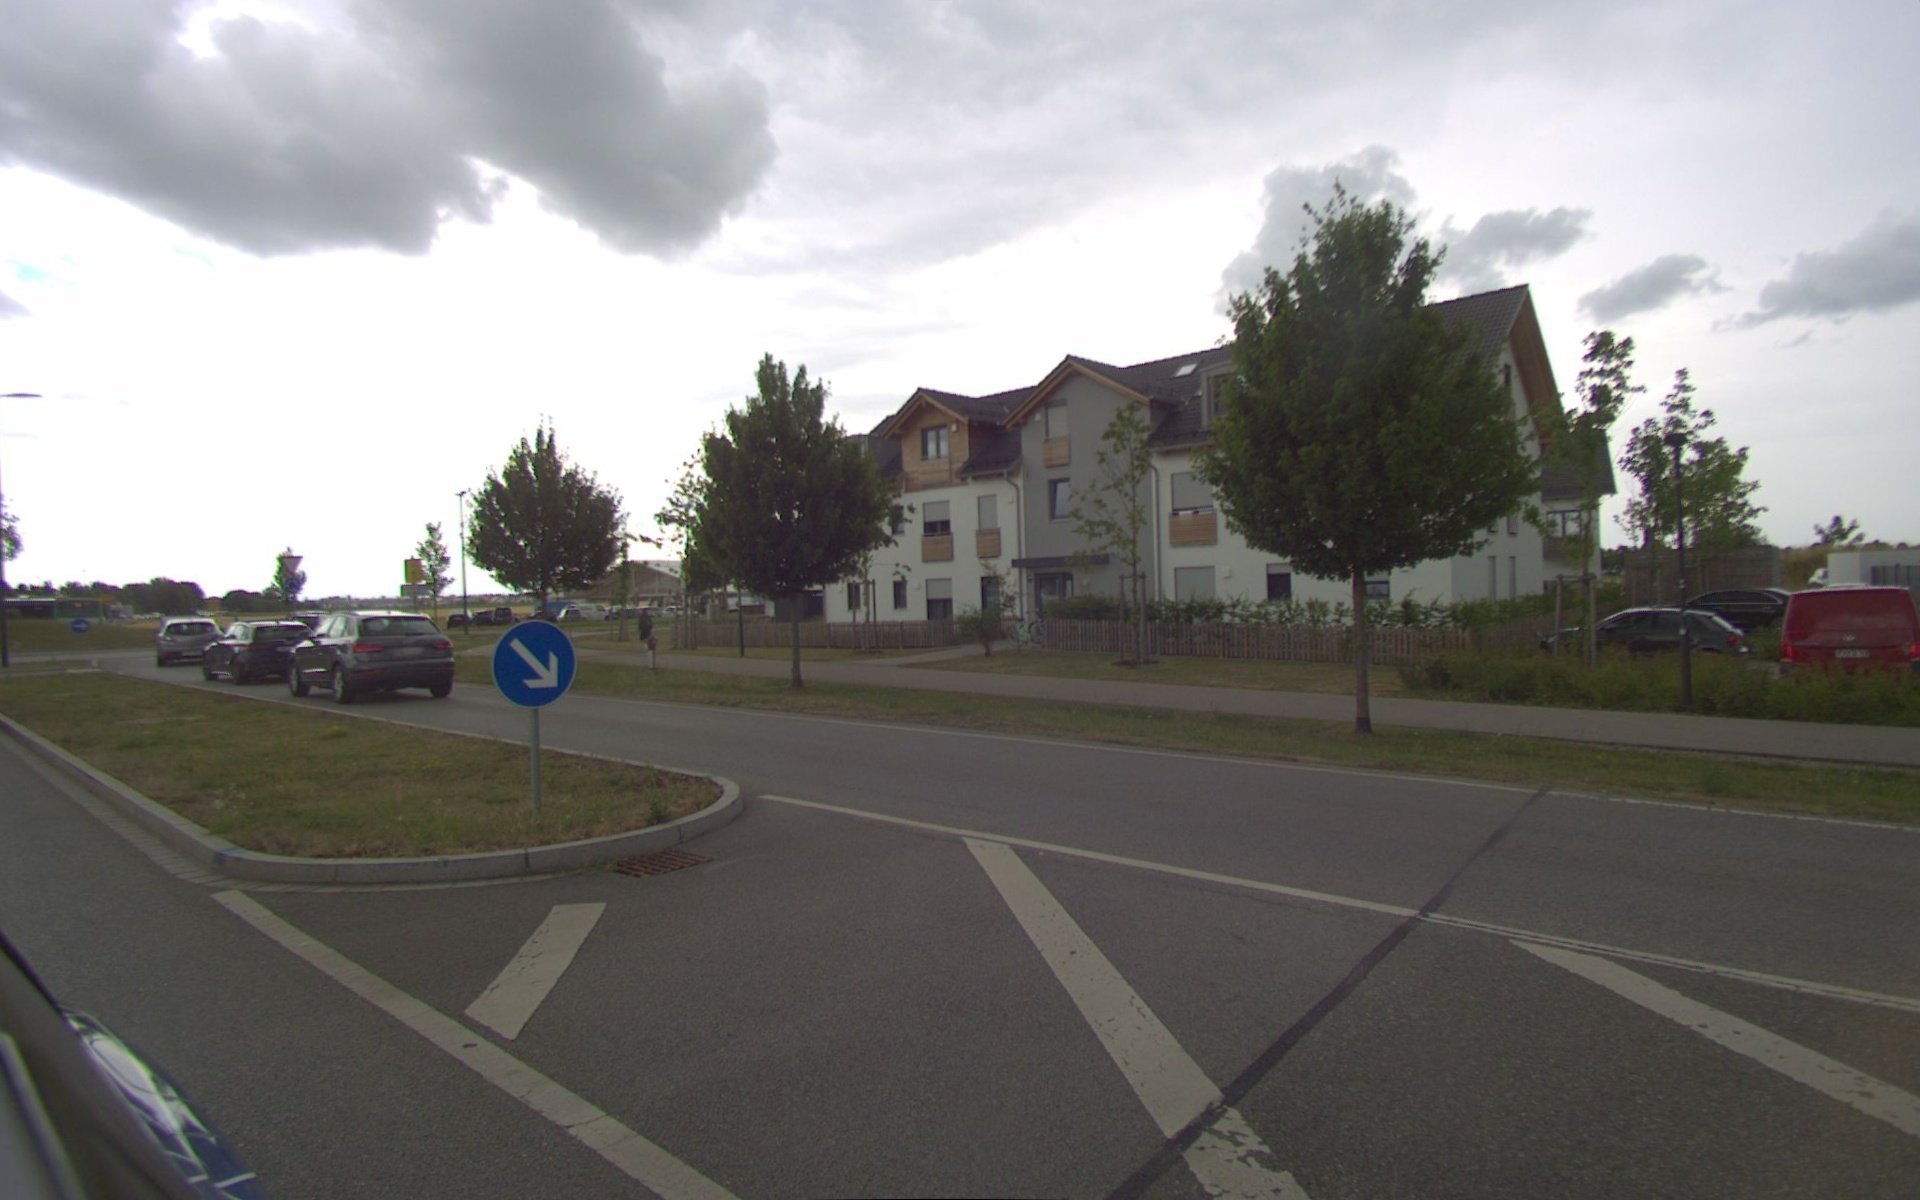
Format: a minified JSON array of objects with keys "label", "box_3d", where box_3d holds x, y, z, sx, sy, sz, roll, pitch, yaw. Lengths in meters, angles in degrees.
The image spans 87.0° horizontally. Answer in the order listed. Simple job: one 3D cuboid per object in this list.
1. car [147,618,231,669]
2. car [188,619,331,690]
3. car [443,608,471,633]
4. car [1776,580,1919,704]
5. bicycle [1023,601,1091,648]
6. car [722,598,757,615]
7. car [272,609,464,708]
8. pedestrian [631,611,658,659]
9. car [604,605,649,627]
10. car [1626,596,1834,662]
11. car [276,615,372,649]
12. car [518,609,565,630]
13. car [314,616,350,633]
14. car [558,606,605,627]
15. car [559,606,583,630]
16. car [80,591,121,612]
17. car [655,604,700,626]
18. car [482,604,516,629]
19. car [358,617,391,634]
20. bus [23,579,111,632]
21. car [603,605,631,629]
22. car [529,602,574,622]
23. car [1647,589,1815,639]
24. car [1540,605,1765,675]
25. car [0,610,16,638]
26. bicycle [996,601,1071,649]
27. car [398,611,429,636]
[{"label":"car","box_3d":[-24.975,1.374,32.715,1.804,1.500,4.220,0,-1,-42]},{"label":"car","box_3d":[-16.662,1.241,24.000,4.348,1.500,1.806,-2,-1,41]},{"label":"car","box_3d":[-41.996,1.682,84.604,1.965,2.029,4.013,0,-1,-24]},{"label":"car","box_3d":[15.394,0.628,17.082,4.848,1.830,1.907,0,-1,-44]},{"label":"bicycle","box_3d":[3.008,0.770,31.454,2.093,1.428,0.675,-2,-1,41]},{"label":"car","box_3d":[-28.626,0.839,131.259,1.991,2.029,4.523,-1,-1,28]},{"label":"car","box_3d":[-10.894,1.000,18.501,4.214,1.594,1.806,-2,-1,41]},{"label":"pedestrian","box_3d":[-10.391,1.142,33.342,0.586,1.541,0.540,-2,1,41]},{"label":"car","box_3d":[-32.555,1.550,98.834,1.991,2.029,3.961,-1,-1,28]},{"label":"car","box_3d":[19.182,0.709,25.299,3.998,1.519,1.973,-2,-1,41]},{"label":"car","box_3d":[-29.943,1.491,47.798,1.806,1.500,4.336,-1,-1,0]},{"label":"car","box_3d":[-41.467,1.937,100.421,1.991,2.029,3.961,-1,-1,28]},{"label":"car","box_3d":[-50.285,1.978,81.072,1.965,1.298,4.013,0,-1,-24]},{"label":"car","box_3d":[-37.267,1.636,99.611,1.994,2.029,3.956,-1,-1,32]},{"label":"car","box_3d":[-34.723,1.593,90.290,1.965,2.029,4.013,-1,-1,-21]},{"label":"car","box_3d":[-63.035,0.126,74.220,3.998,1.454,1.752,-2,-1,41]},{"label":"car","box_3d":[-26.902,1.426,96.523,1.991,2.029,3.961,-1,-1,28]},{"label":"car","box_3d":[-38.942,1.423,85.434,1.966,2.029,4.011,0,-1,-34]},{"label":"car","box_3d":[-47.465,2.081,82.086,1.965,1.298,4.013,0,-1,-24]},{"label":"bus","box_3d":[-58.556,0.398,66.318,6.470,3.305,2.958,-2,-1,35]},{"label":"car","box_3d":[-30.911,1.543,91.082,2.194,2.029,4.013,-1,-1,-21]},{"label":"car","box_3d":[-42.421,1.224,105.214,1.991,2.029,3.961,-1,-1,28]},{"label":"car","box_3d":[23.752,0.451,31.228,3.998,1.431,1.856,-2,-1,41]},{"label":"car","box_3d":[15.568,0.867,22.854,3.998,1.431,1.856,-2,-1,41]},{"label":"car","box_3d":[-59.921,1.483,61.473,1.967,1.697,4.010,-1,-1,-12]},{"label":"bicycle","box_3d":[2.228,0.767,30.823,2.342,1.423,0.675,-2,-1,41]},{"label":"car","box_3d":[-45.023,1.929,83.477,1.965,2.029,4.013,0,-1,-24]}]
